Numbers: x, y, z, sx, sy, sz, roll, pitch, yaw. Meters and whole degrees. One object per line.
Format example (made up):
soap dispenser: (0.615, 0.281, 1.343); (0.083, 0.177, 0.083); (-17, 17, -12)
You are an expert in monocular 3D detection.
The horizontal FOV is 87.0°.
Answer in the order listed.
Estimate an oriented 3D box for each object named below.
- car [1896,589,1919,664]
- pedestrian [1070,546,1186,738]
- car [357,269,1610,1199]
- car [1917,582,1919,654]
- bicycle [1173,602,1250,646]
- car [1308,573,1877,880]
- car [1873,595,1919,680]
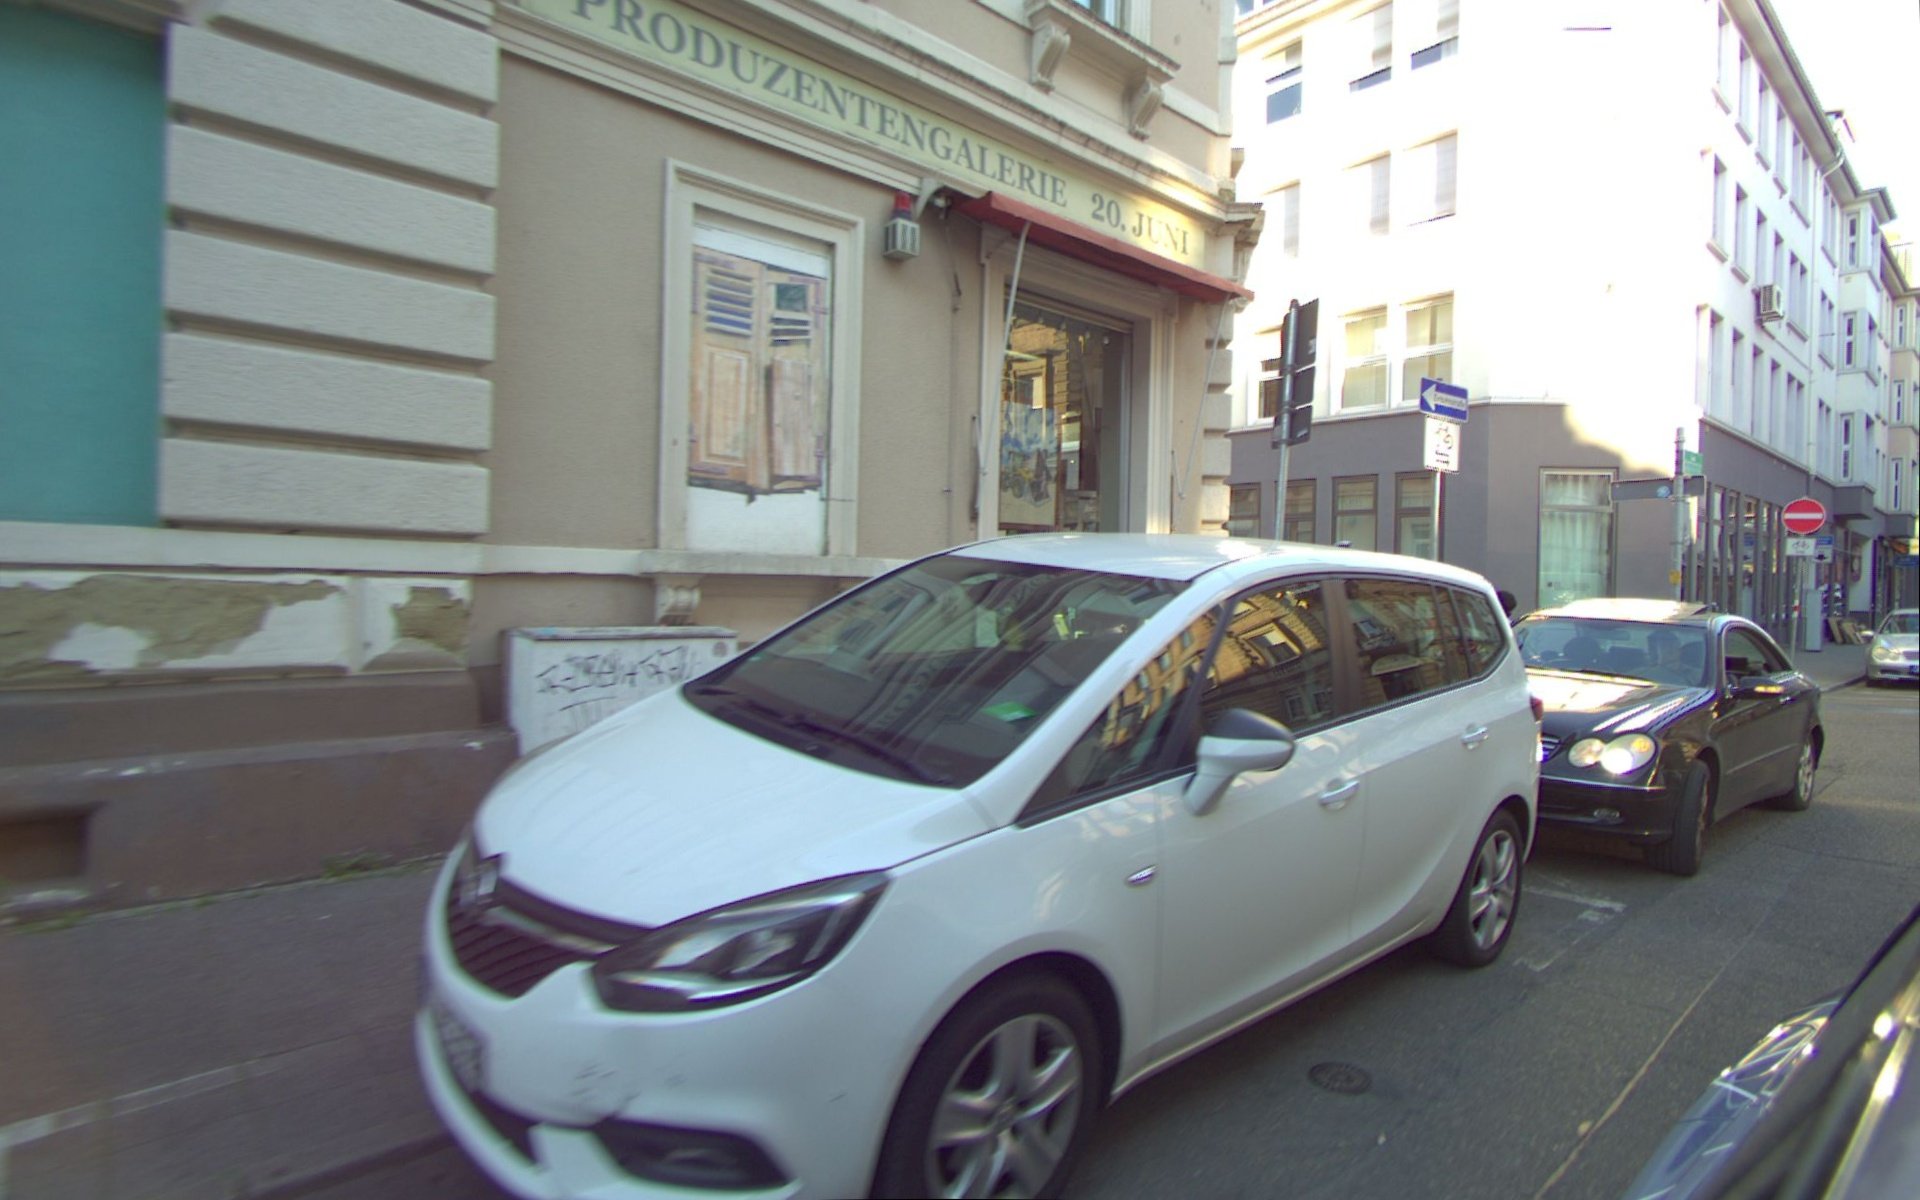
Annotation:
car: (21.889, 0.591, 21.870); (4.046, 1.543, 2.012); (1, 1, -41)
pedestrian: (1.376, 0.317, 8.324); (0.570, 1.490, 0.716); (0, 1, -41)
car: (0.543, 0.378, 3.618); (4.383, 1.745, 1.820); (1, 1, -41)
car: (26.115, 0.495, 25.618); (4.409, 1.766, 2.334); (1, 1, -41)
bicycle: (5.665, 0.518, 22.852); (0.587, 0.916, 1.642); (1, 1, -40)
car: (4.550, 0.593, 6.957); (4.643, 1.426, 1.889); (1, 1, -39)
car: (17.819, 0.645, 18.211); (4.413, 1.419, 1.752); (0, 0, -44)
